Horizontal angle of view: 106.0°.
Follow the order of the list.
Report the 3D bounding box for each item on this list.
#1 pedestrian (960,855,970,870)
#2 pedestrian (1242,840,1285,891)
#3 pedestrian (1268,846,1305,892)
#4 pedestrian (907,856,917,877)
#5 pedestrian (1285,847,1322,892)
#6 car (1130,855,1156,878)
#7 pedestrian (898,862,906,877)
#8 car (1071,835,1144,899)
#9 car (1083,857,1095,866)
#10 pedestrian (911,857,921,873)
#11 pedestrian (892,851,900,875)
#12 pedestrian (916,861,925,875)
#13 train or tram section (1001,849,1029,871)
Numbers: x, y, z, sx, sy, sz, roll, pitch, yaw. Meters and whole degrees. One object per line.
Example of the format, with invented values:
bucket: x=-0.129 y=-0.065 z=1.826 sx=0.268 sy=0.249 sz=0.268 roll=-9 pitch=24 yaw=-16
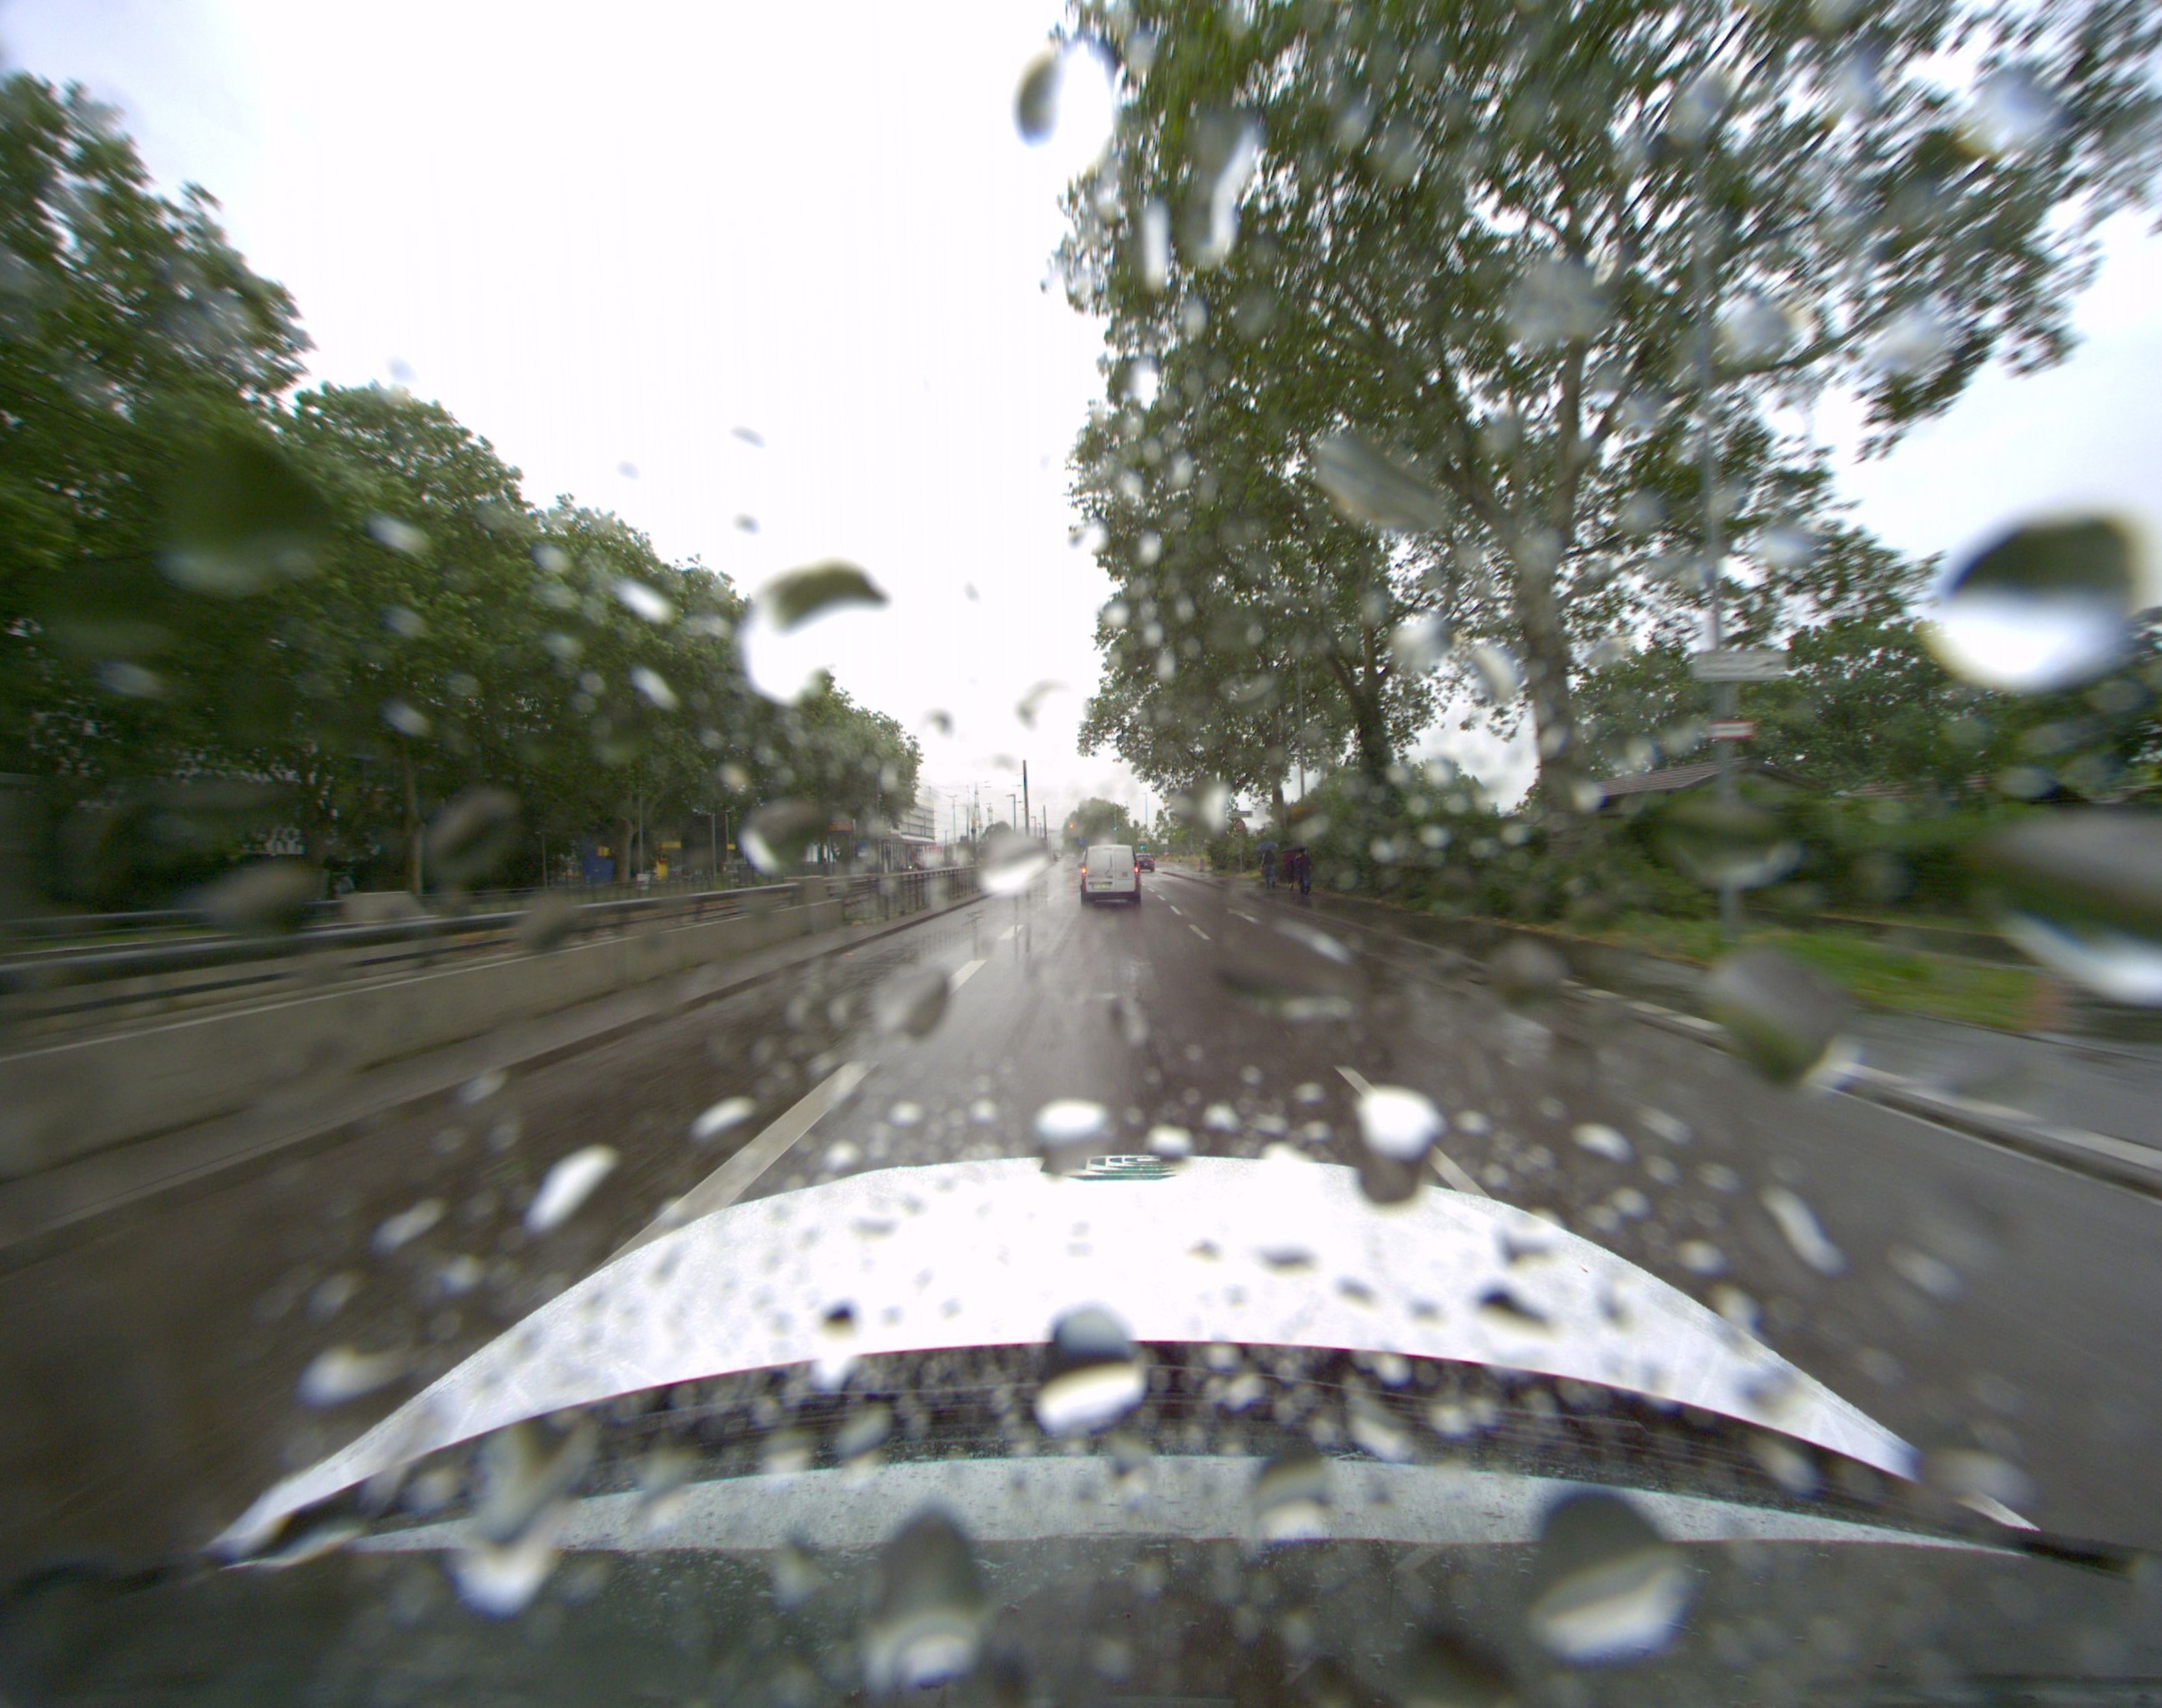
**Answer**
pedestrian: x=-15.969 y=1.205 z=111.962 sx=1.083 sy=2.014 sz=1.097 roll=0 pitch=-1 yaw=4
pedestrian: x=6.848 y=0.439 z=30.620 sx=1.235 sy=1.785 sz=1.147 roll=-5 pitch=-1 yaw=1
pedestrian: x=7.364 y=0.527 z=29.236 sx=0.943 sy=1.589 sz=1.294 roll=-2 pitch=-1 yaw=2
pedestrian: x=-15.505 y=1.141 z=74.631 sx=0.618 sy=1.933 sz=0.815 roll=0 pitch=-1 yaw=5
pedestrian: x=7.211 y=0.498 z=26.439 sx=0.889 sy=1.390 sz=1.017 roll=-3 pitch=-1 yaw=2
car: x=4.947 y=1.002 z=65.531 sx=1.985 sy=1.750 sz=4.003 roll=0 pitch=-1 yaw=3
pedestrian: x=-15.484 y=1.361 z=70.472 sx=0.491 sy=1.268 sz=0.665 roll=0 pitch=-1 yaw=5
car: x=0.710 y=0.411 z=24.963 sx=2.019 sy=1.775 sz=4.271 roll=0 pitch=-1 yaw=-1
car: x=1.481 y=1.433 z=155.693 sx=1.990 sy=1.750 sz=3.992 roll=0 pitch=-1 yaw=-5
pedestrian: x=-15.755 y=1.063 z=77.823 sx=0.829 sy=1.562 sz=0.667 roll=1 pitch=-2 yaw=-25
pedestrian: x=-15.538 y=0.726 z=68.403 sx=0.491 sy=2.014 sz=0.583 roll=0 pitch=-1 yaw=1
pedestrian: x=-15.793 y=1.374 z=80.323 sx=0.640 sy=1.303 sz=0.815 roll=0 pitch=-1 yaw=5
train or tram section: x=-13.231 y=1.422 z=166.968 sx=3.759 sy=4.037 sz=27.080 roll=0 pitch=-1 yaw=-1
